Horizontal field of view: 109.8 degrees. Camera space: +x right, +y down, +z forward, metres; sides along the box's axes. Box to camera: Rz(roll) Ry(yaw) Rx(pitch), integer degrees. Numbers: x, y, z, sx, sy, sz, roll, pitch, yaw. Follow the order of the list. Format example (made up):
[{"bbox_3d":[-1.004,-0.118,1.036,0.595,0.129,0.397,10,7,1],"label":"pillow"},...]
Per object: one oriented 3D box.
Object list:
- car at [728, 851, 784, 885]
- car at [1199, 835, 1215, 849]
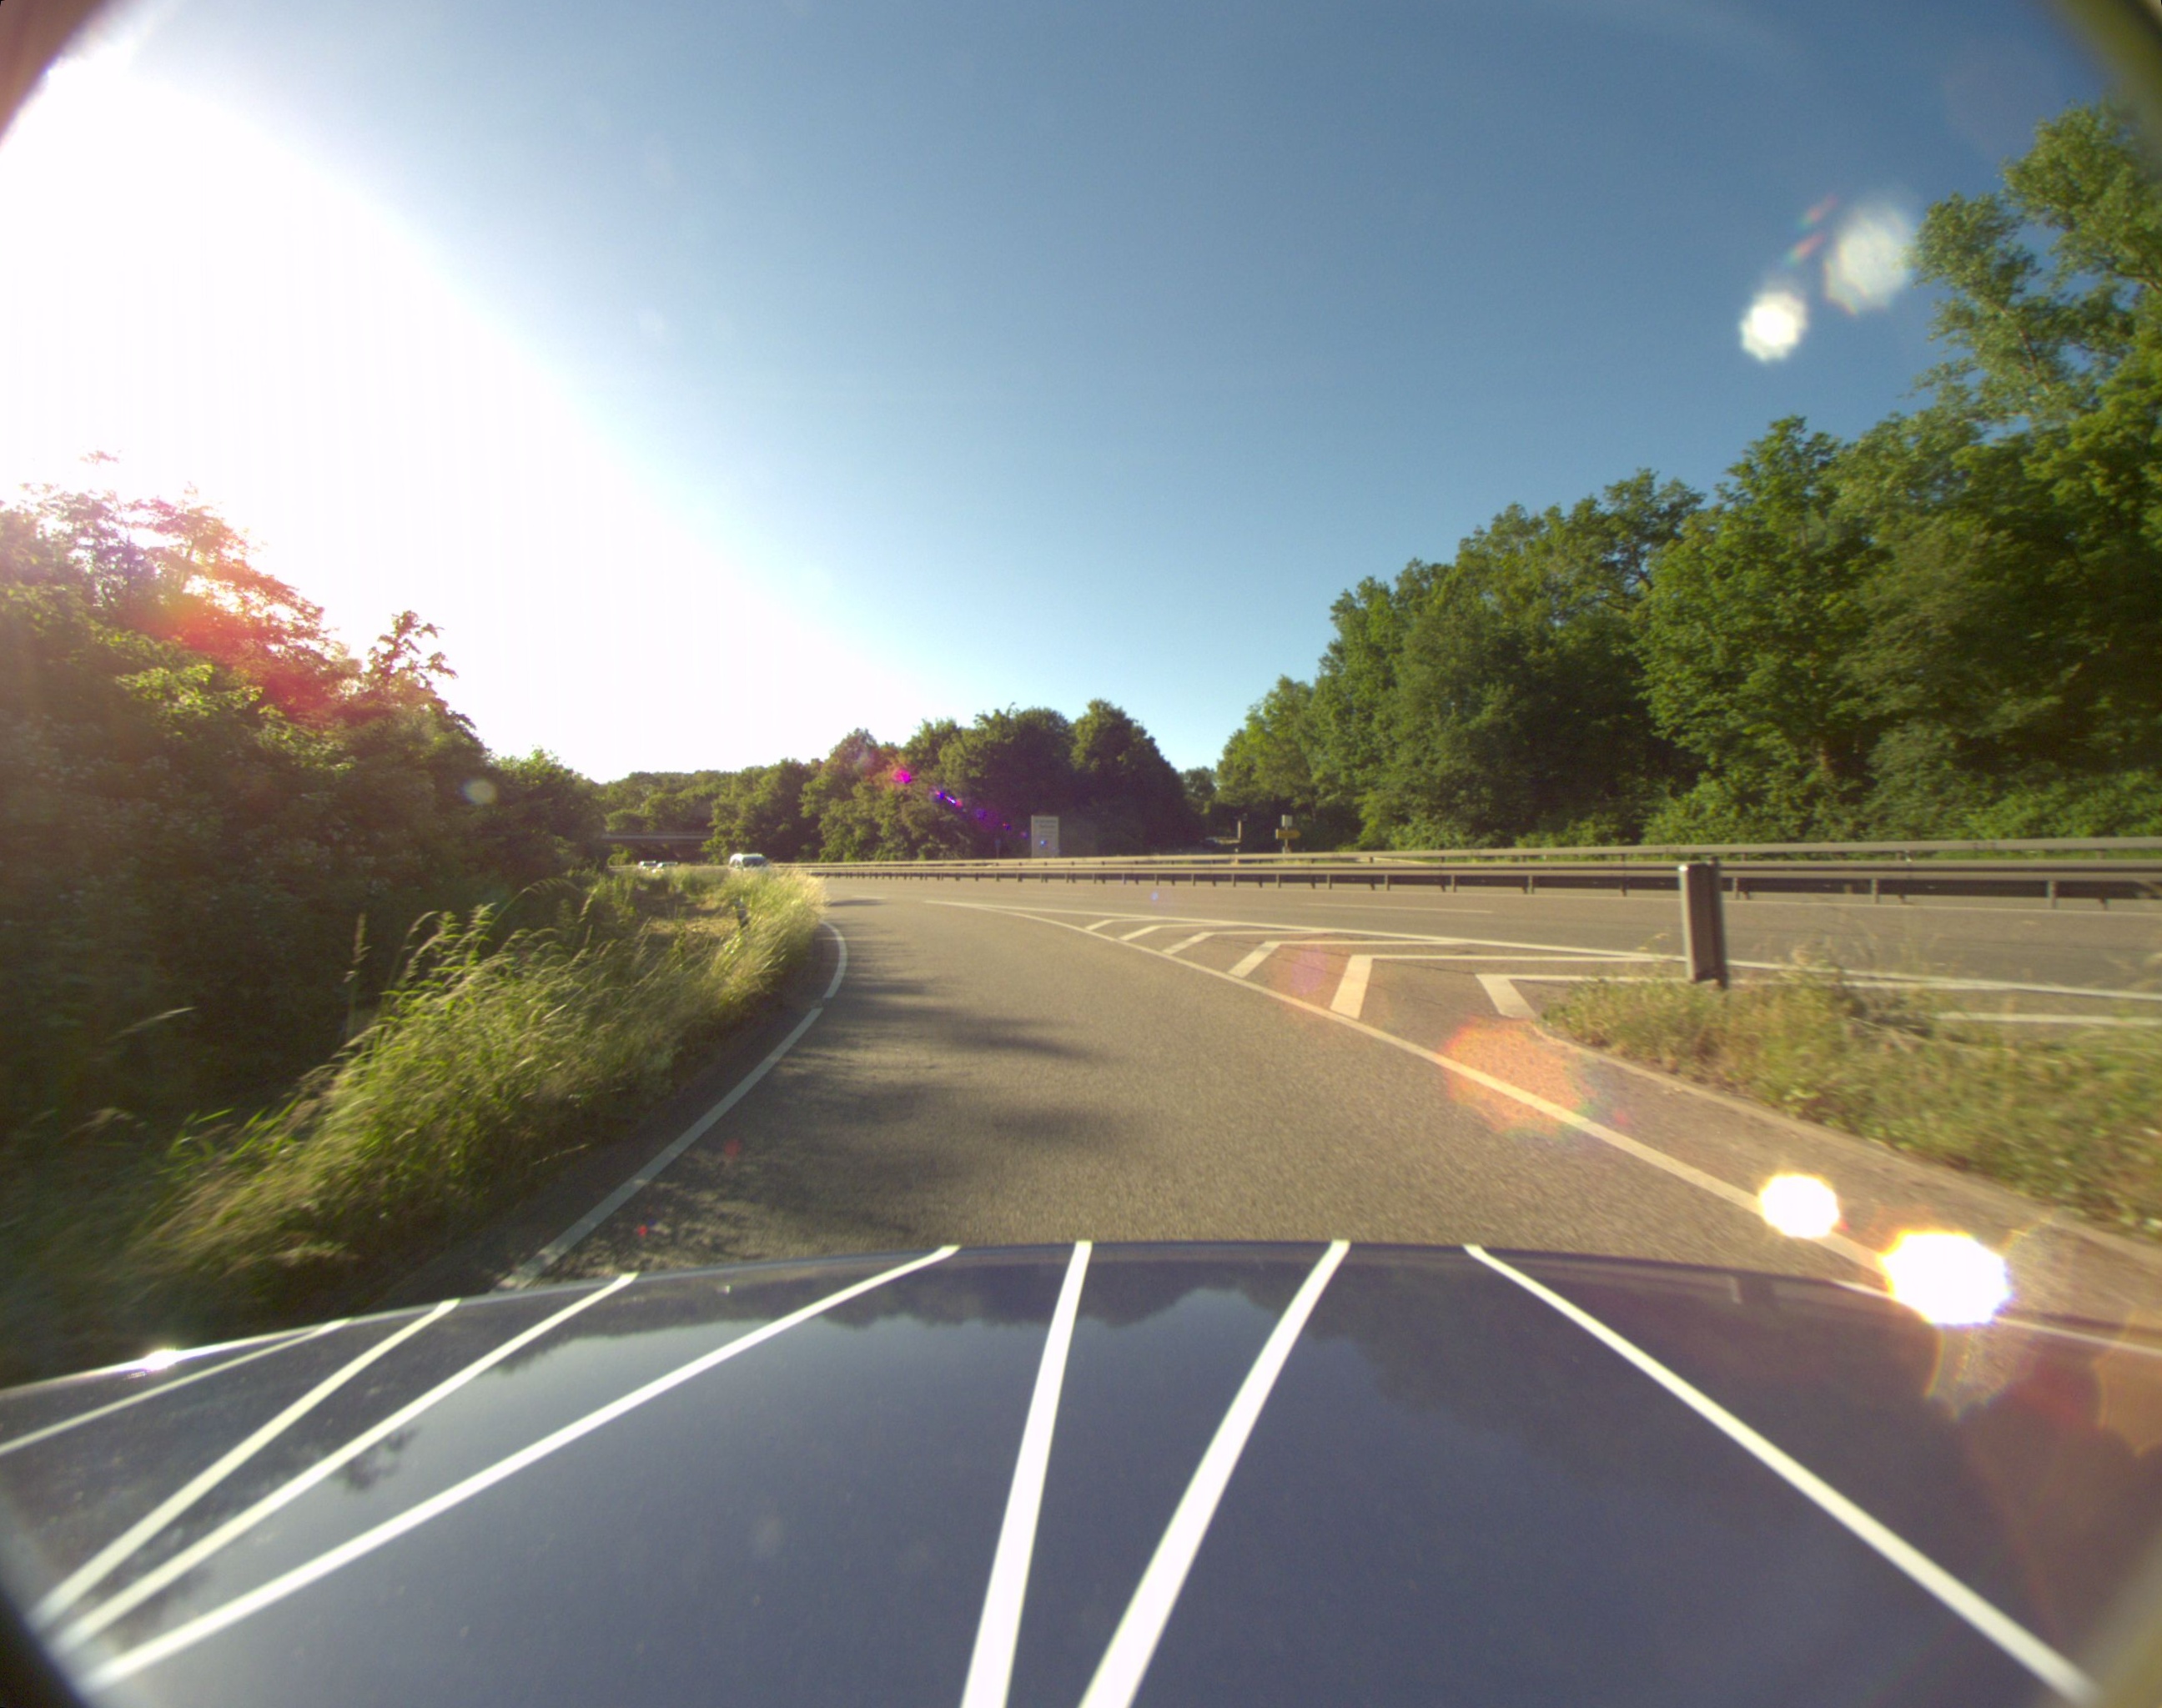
[{"bbox_3d":[-18.947,0.767,44.162,1.804,1.797,4.819,-3,3,-37],"label":"car"},{"bbox_3d":[18.145,-1.806,109.218,1.997,1.849,4.667,-1,2,12],"label":"car"}]
